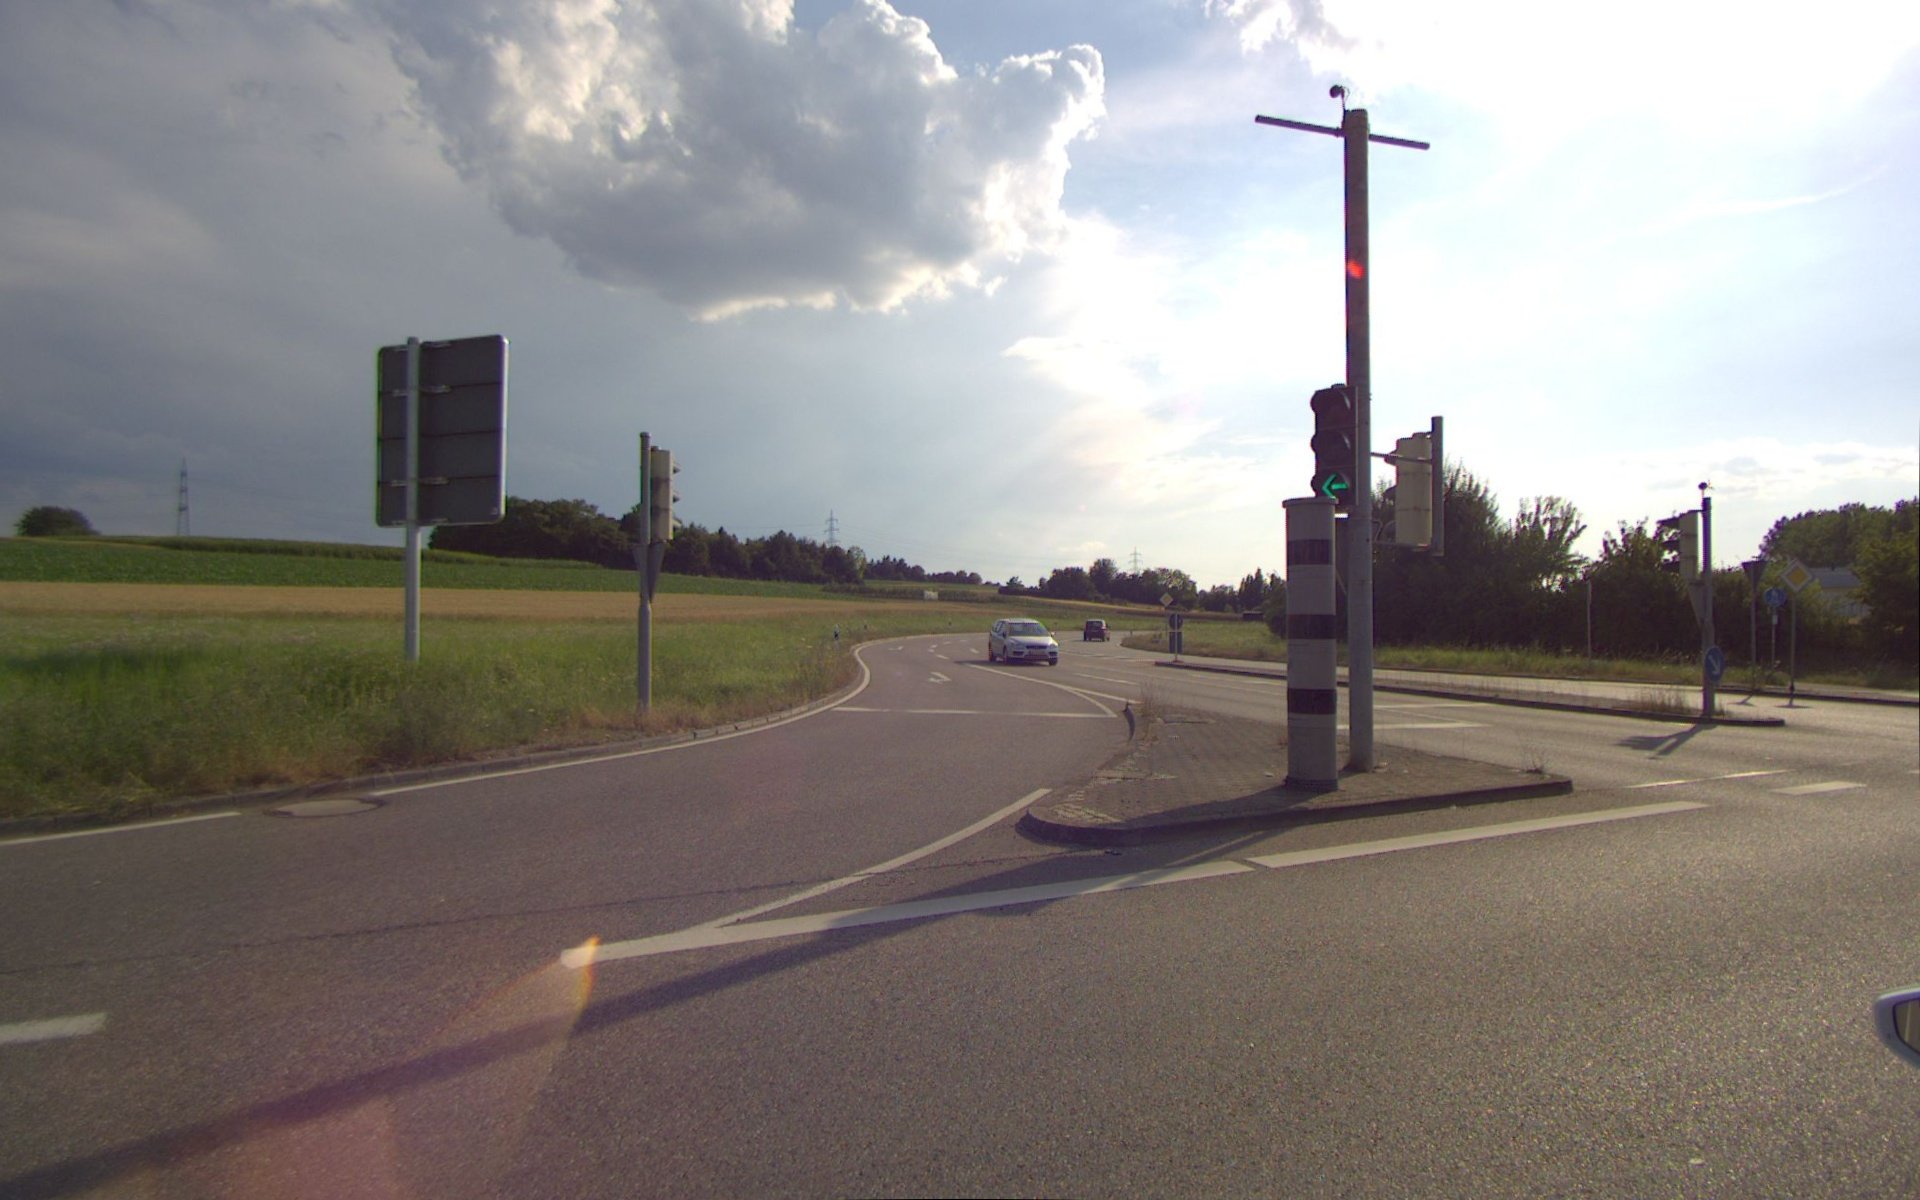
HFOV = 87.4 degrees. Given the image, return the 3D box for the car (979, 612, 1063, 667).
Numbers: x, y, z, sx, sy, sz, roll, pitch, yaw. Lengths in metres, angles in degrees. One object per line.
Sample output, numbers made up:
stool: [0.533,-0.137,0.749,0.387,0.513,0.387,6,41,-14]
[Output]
car: [2.009,1.293,34.477,1.789,1.549,4.343,2,1,-12]

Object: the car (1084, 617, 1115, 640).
car: [10.204,2.062,73.291,1.693,1.520,3.858,2,0,17]
